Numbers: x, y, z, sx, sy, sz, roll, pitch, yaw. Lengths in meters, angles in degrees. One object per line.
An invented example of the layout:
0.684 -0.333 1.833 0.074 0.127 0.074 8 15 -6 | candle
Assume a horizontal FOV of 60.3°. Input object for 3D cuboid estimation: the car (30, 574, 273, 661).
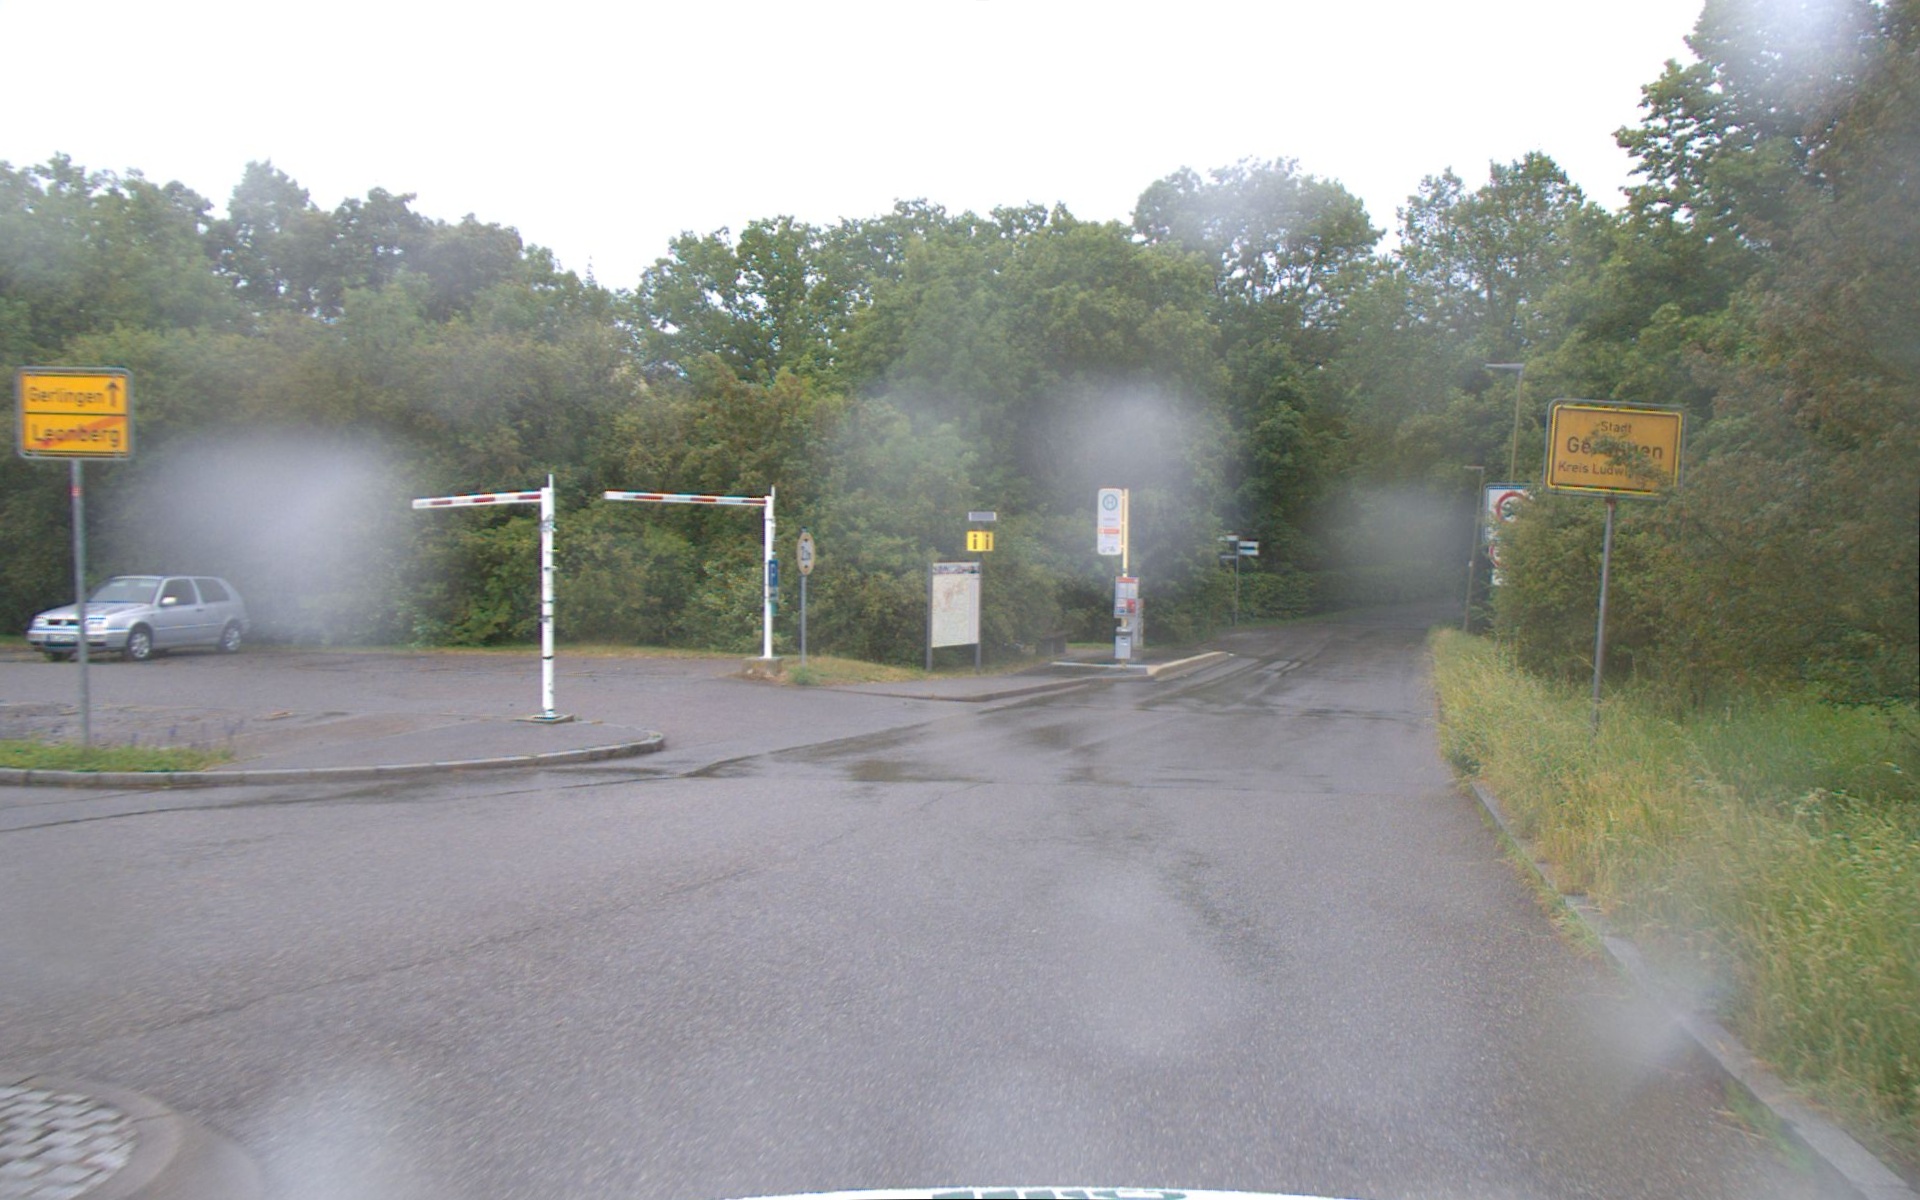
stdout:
-13.824 0.296 28.555 1.567 1.379 4.126 0 -1 11 | car
